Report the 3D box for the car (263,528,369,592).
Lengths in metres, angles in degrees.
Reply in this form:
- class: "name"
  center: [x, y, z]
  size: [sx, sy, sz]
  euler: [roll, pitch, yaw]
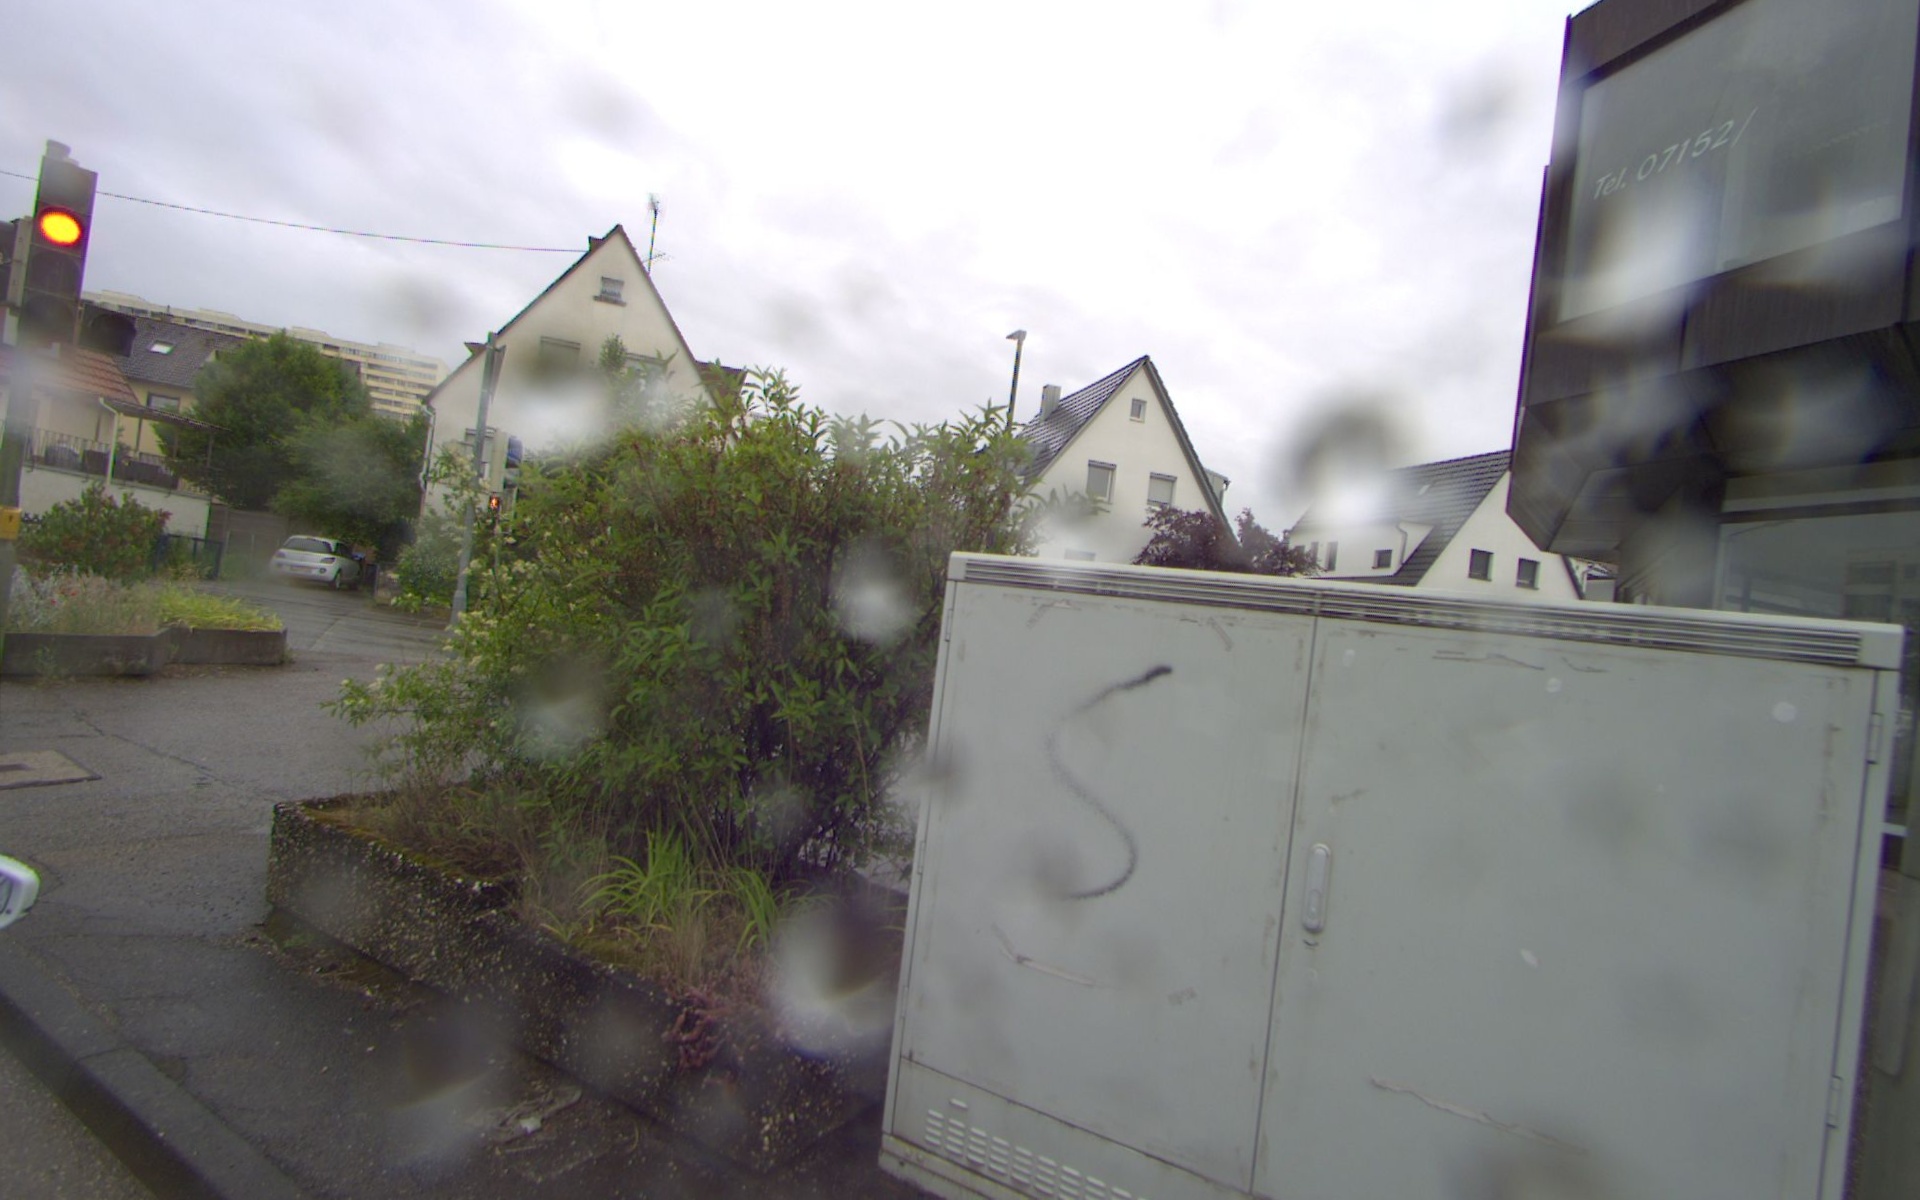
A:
- class: "car"
  center: [-19.154, -1.175, 30.112]
  size: [1.722, 1.532, 3.981]
  euler: [9, -1, -21]
